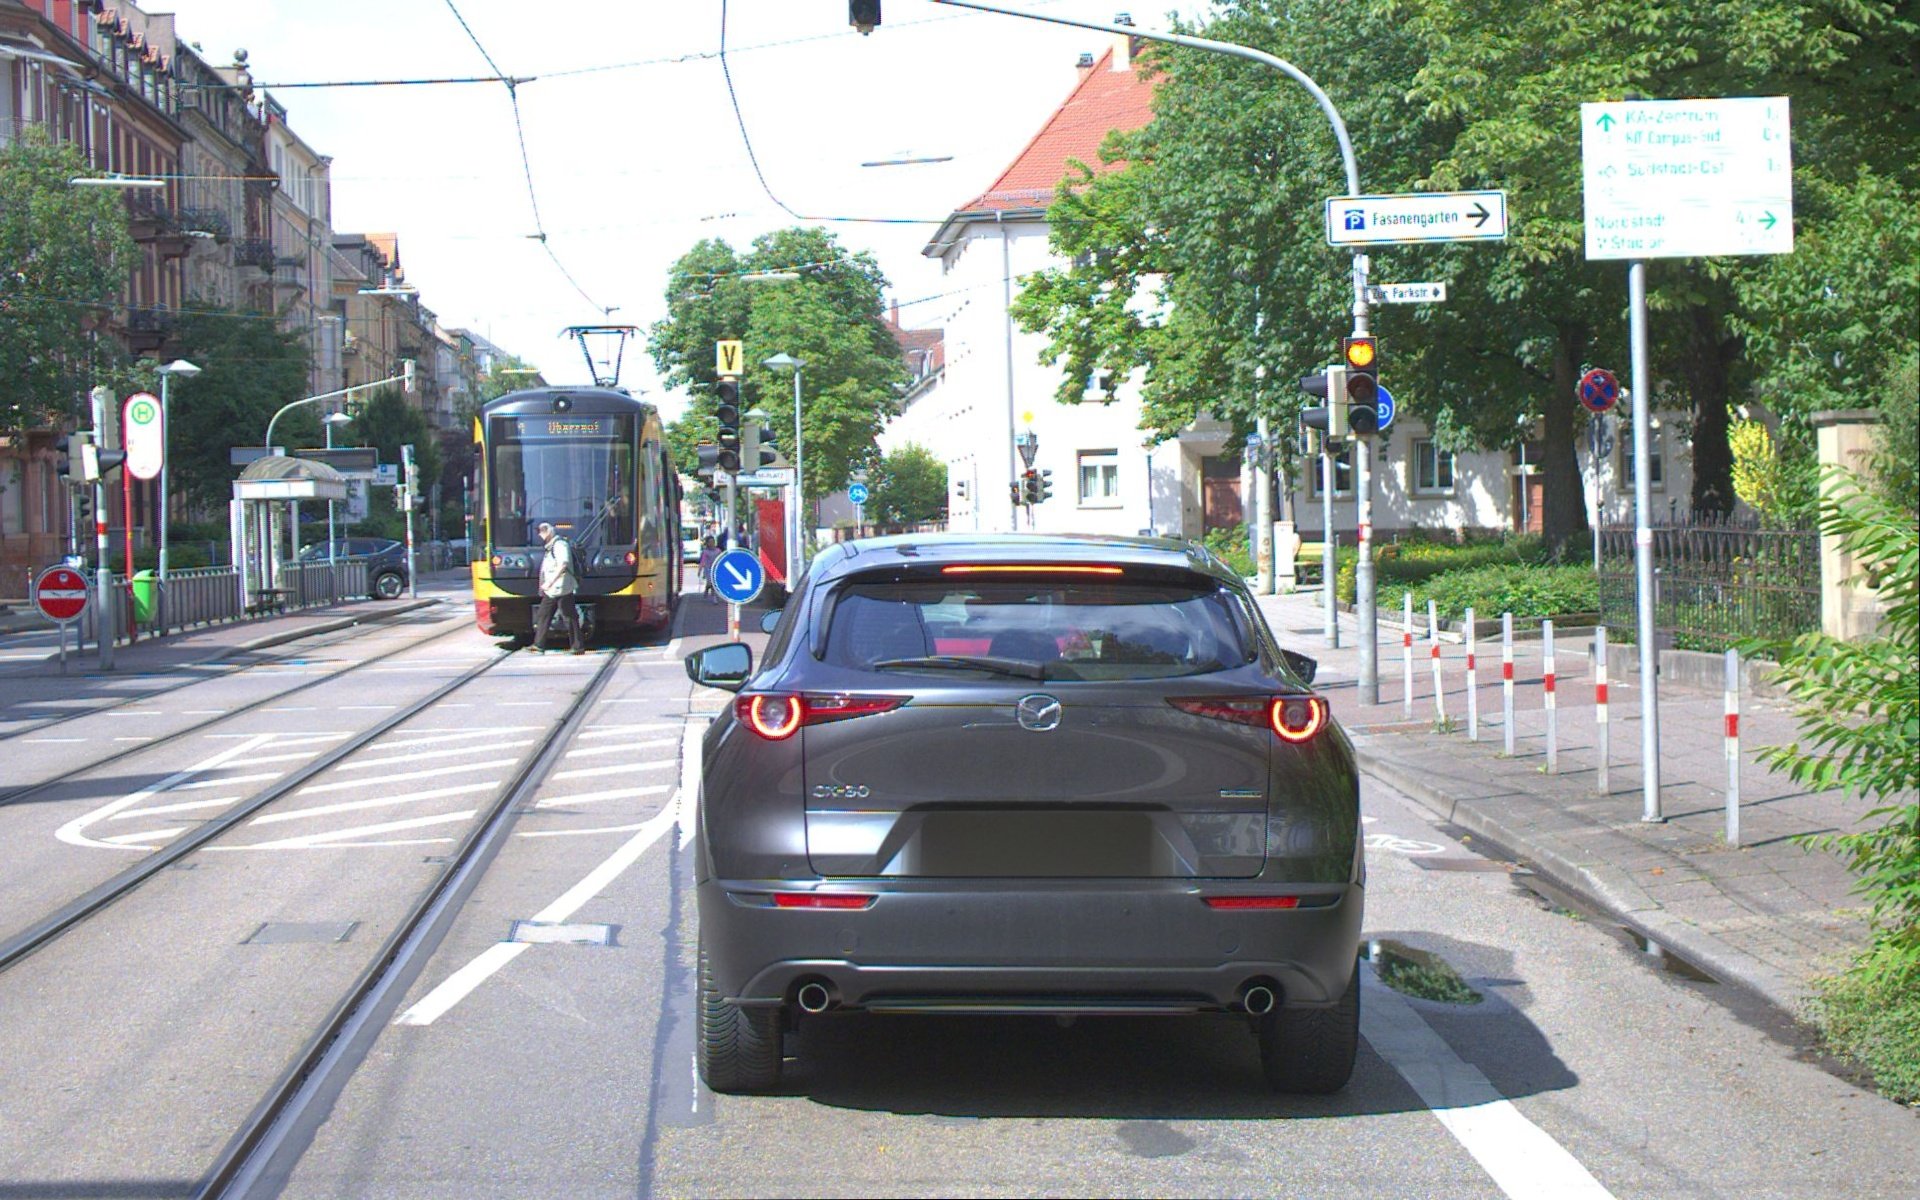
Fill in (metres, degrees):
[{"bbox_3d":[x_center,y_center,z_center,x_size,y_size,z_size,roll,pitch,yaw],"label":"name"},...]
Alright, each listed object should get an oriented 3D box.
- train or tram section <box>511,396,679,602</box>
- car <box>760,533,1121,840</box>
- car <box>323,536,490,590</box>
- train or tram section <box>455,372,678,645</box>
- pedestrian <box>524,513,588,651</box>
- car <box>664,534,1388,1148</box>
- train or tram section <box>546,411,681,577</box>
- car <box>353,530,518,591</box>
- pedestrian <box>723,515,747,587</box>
[{"bbox_3d":[-6.827,-1.992,65.982,2.752,3.478,14.411,-1,2,-5],"label":"train or tram section"},{"bbox_3d":[-0.129,0.396,19.160,1.778,1.494,4.000,1,1,-1],"label":"car"},{"bbox_3d":[-14.639,-0.988,90.940,3.987,1.356,1.678,-2,1,-30],"label":"car"},{"bbox_3d":[-5.671,-1.446,51.611,2.752,3.478,14.411,-1,2,-5],"label":"train or tram section"},{"bbox_3d":[-5.073,-0.229,43.193,0.717,1.699,0.824,-1,1,-3],"label":"pedestrian"},{"bbox_3d":[0.133,0.563,10.554,1.778,1.494,4.000,1,1,-1],"label":"car"},{"bbox_3d":[-7.954,-2.520,80.368,2.752,3.478,14.411,-1,2,-5],"label":"train or tram section"},{"bbox_3d":[-13.420,-1.022,87.940,3.986,1.492,1.679,-1,1,-14],"label":"car"},{"bbox_3d":[-4.512,-0.977,68.953,0.450,1.429,0.474,-1,1,-5],"label":"pedestrian"}]
